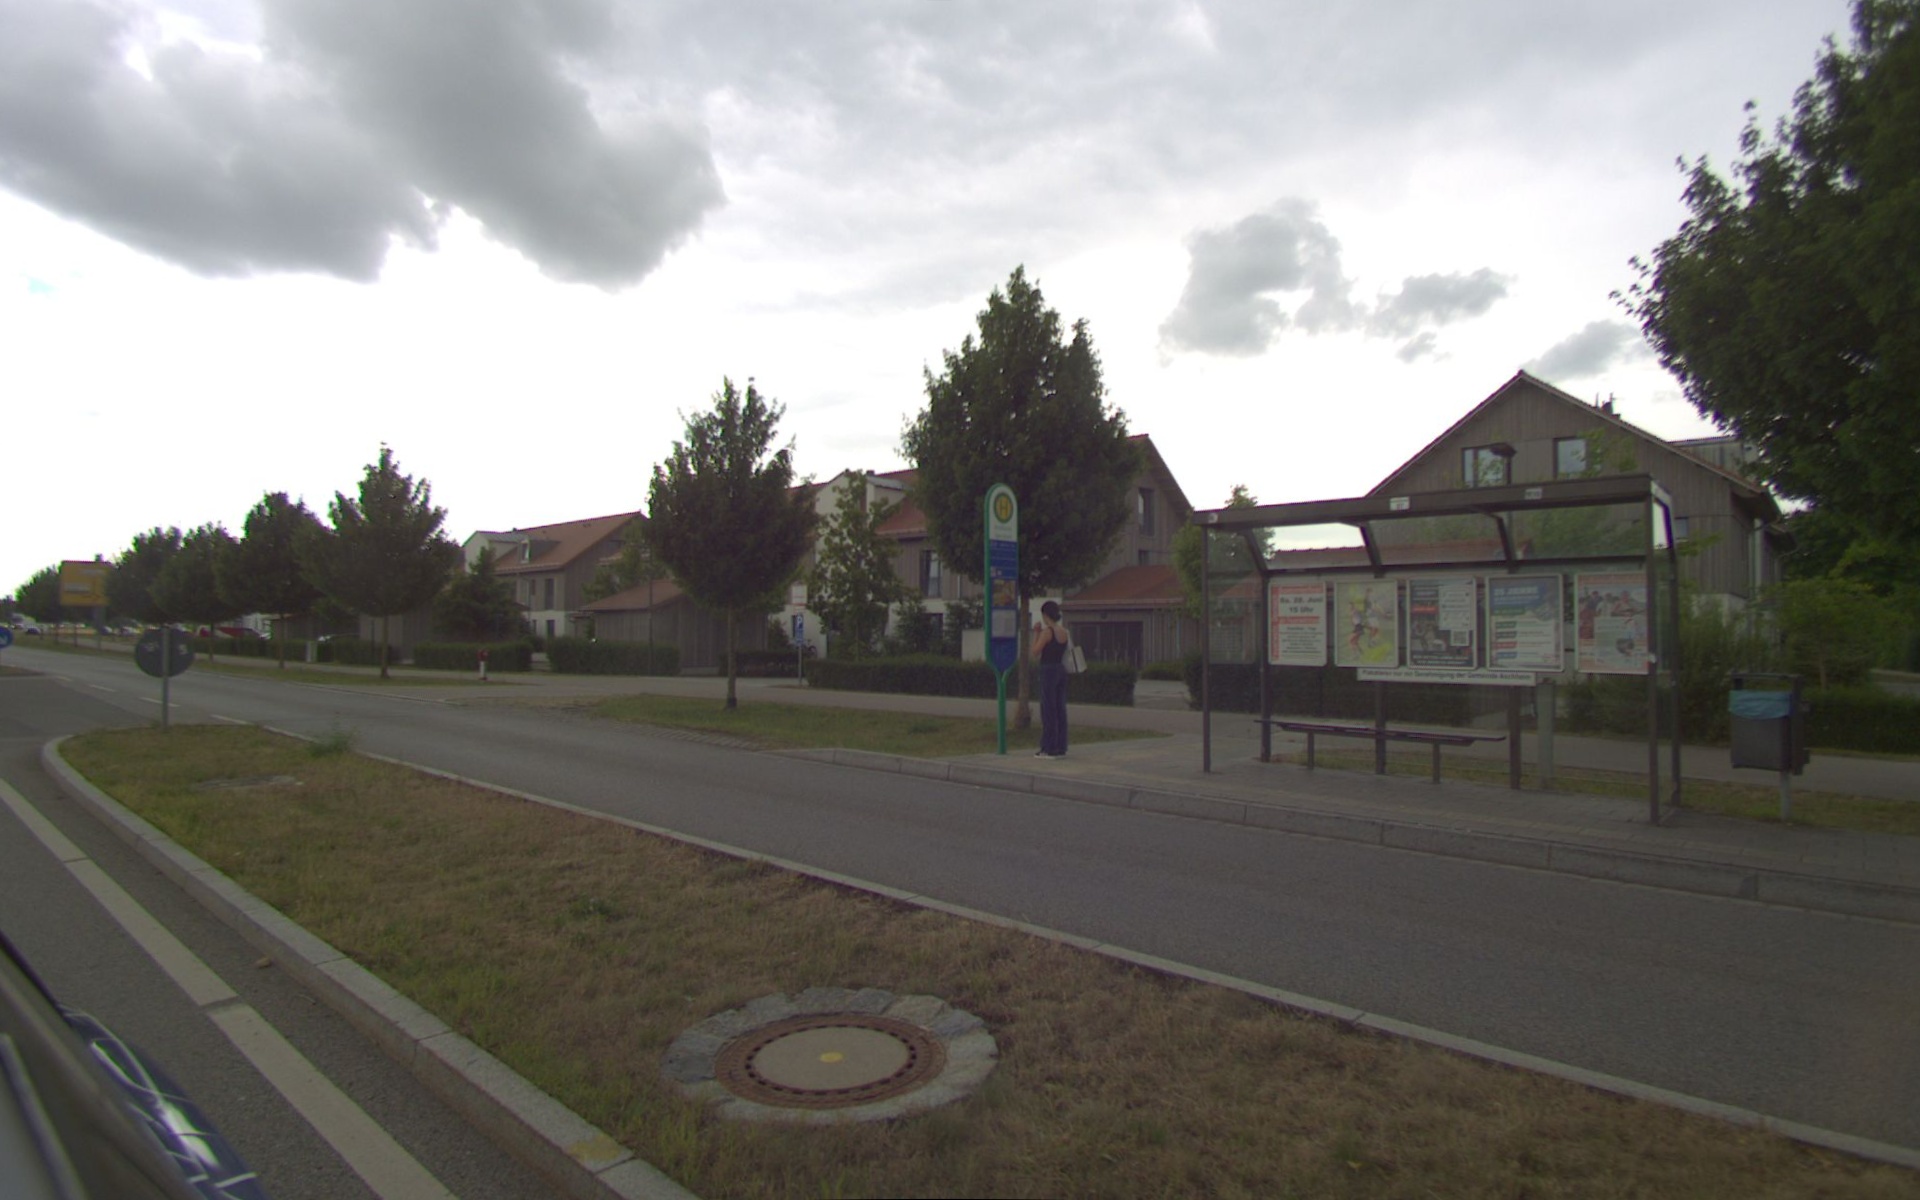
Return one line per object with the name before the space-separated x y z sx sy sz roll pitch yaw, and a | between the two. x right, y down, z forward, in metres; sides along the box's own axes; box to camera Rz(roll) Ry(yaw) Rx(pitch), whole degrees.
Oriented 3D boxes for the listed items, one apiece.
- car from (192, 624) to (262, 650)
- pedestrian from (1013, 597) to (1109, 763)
car | -61.543 3.072 85.014 4.506 2.029 2.001 -1 0 -45
pedestrian | 1.054 0.810 10.604 0.812 1.649 0.582 -1 -2 41
